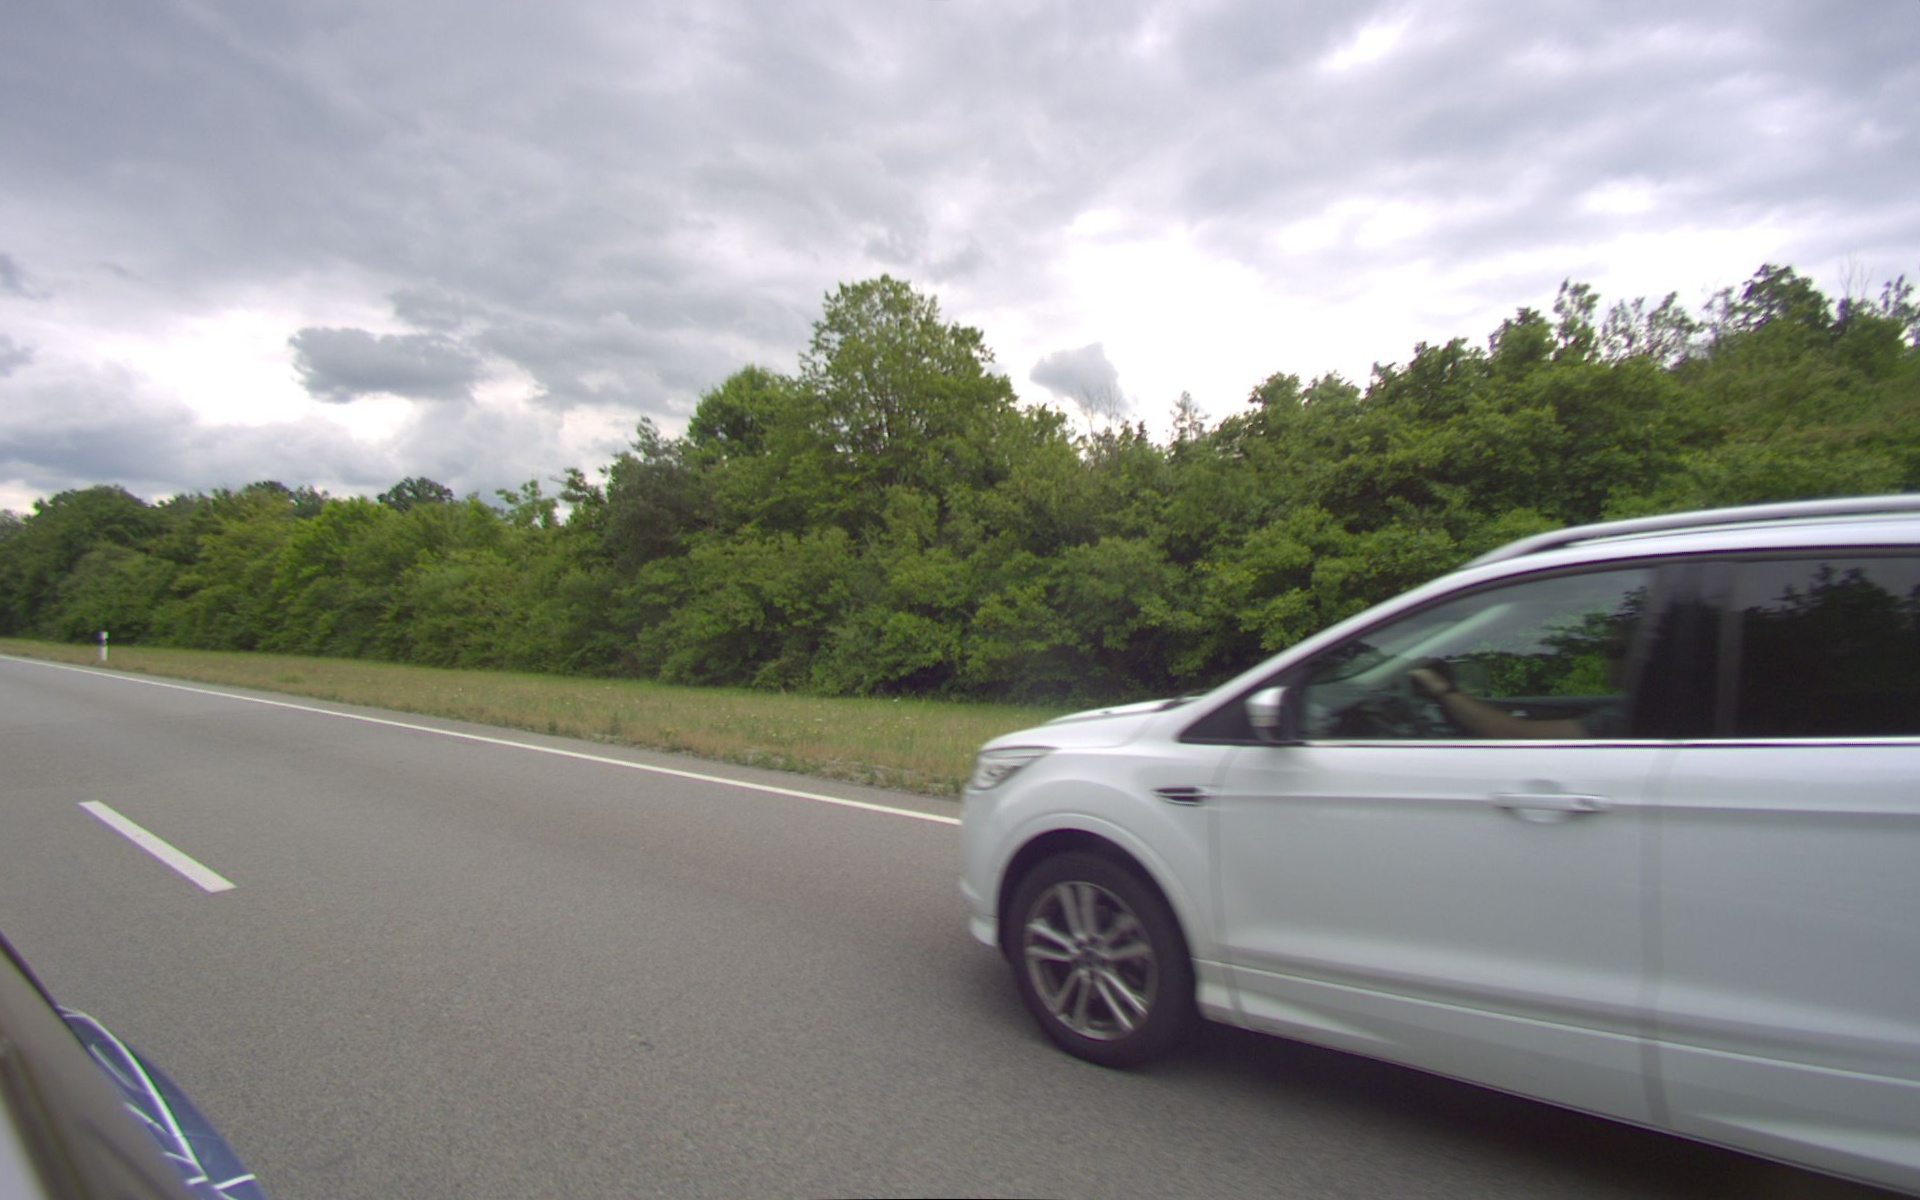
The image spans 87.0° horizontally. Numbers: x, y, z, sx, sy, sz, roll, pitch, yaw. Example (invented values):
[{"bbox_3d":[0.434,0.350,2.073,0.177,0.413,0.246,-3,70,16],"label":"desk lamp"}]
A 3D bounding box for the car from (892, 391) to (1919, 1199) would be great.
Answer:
[{"bbox_3d":[2.128,0.515,2.811,4.609,1.794,1.894,-1,-1,40],"label":"car"}]
